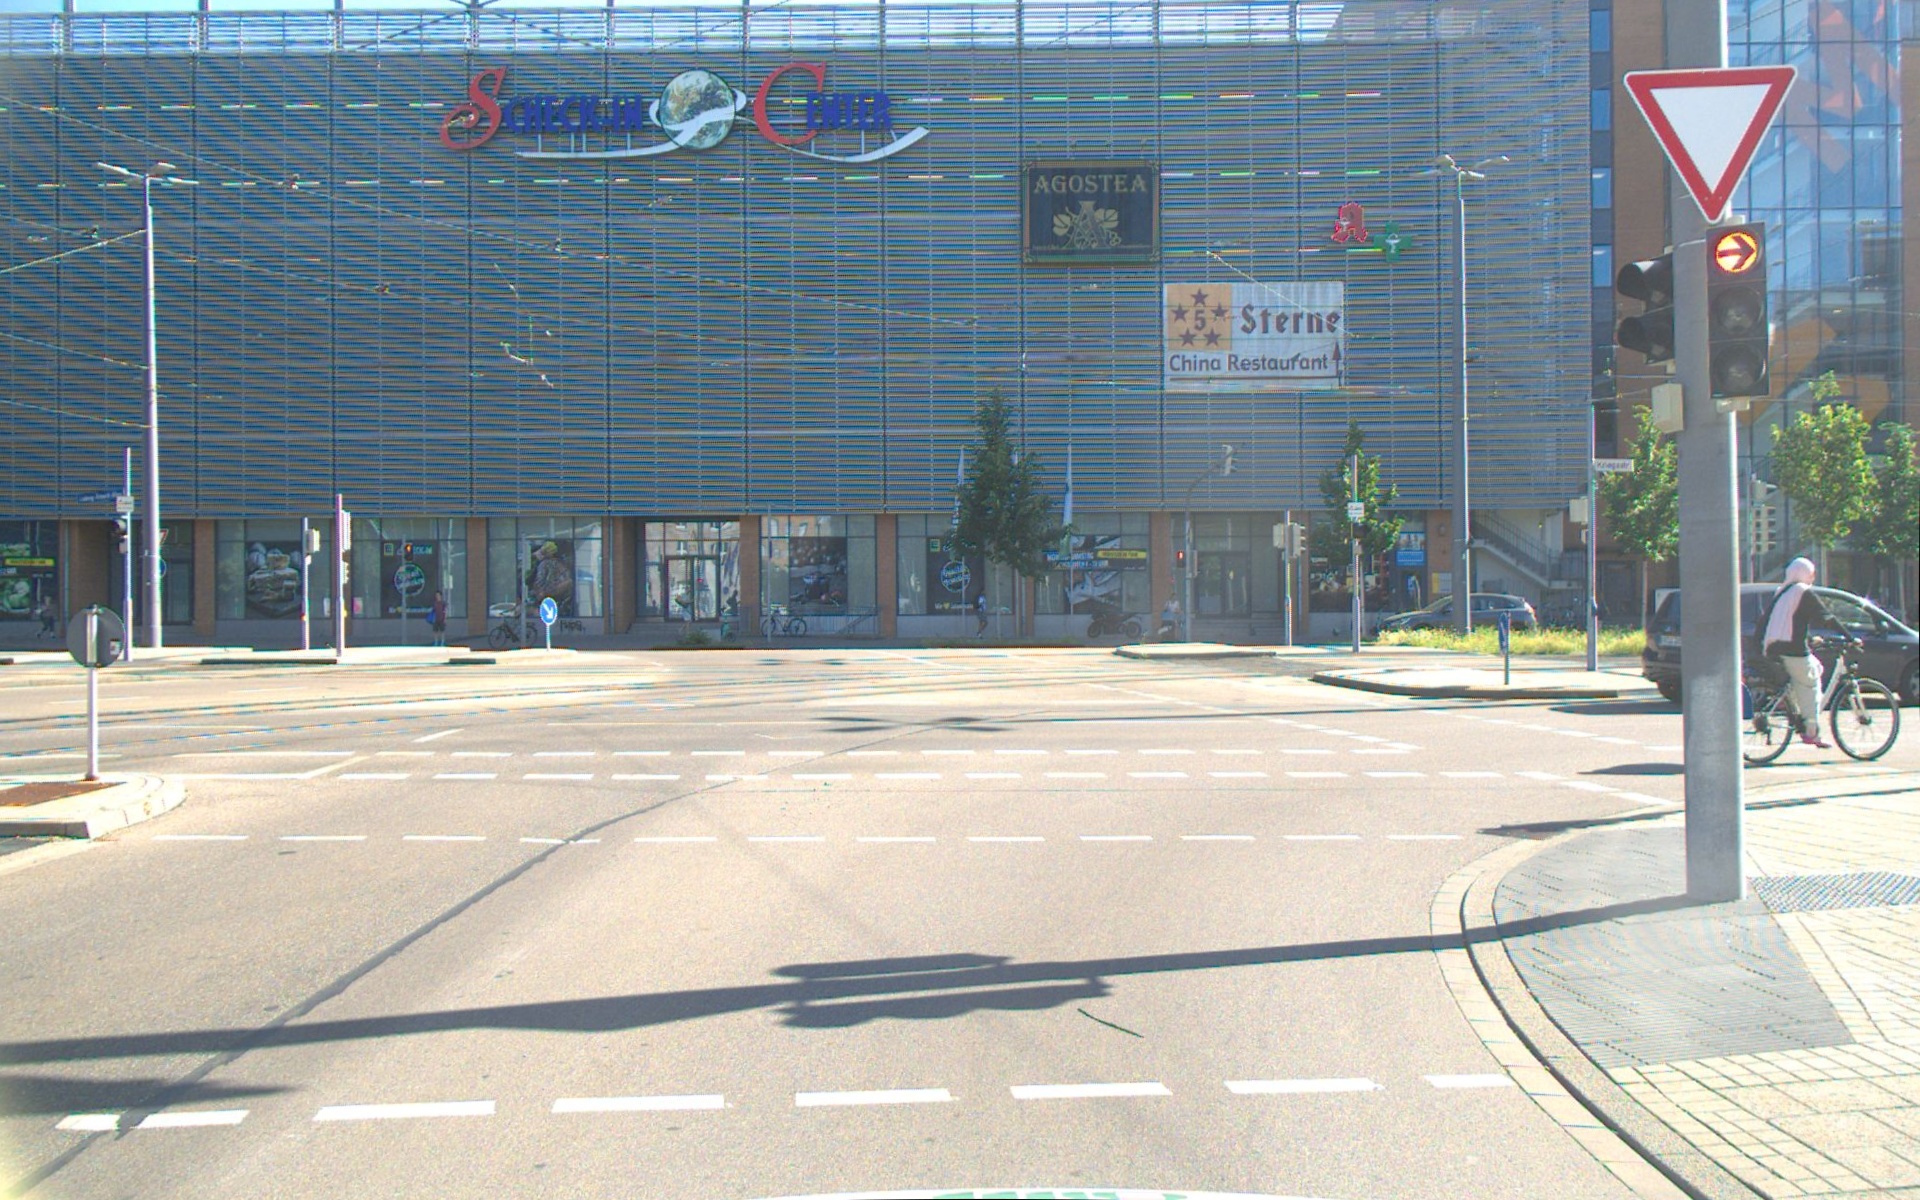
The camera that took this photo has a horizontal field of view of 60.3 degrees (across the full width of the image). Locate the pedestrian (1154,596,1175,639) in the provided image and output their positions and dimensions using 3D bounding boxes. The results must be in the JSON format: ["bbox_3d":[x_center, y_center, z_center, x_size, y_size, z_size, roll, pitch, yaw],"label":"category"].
[{"bbox_3d":[6.856,0.579,55.360,0.641,1.438,0.850,1,-1,10],"label":"pedestrian"}]

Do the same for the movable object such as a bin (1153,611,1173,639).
[{"bbox_3d":[6.741,0.833,54.893,0.599,0.920,0.970,1,0,10],"label":"movable object such as a bin"}]

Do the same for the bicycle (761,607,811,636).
[{"bbox_3d":[-6.366,0.781,60.428,1.783,1.006,0.556,0,1,-11],"label":"bicycle"}]

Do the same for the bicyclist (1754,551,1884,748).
[{"bbox_3d":[7.727,0.442,14.897,0.866,1.736,0.573,1,-1,-7],"label":"bicyclist"}]

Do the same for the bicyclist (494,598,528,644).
[{"bbox_3d":[-14.800,0.692,54.540,0.663,1.452,0.844,0,2,42],"label":"bicyclist"}]

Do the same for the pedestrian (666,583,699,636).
[{"bbox_3d":[-10.016,0.328,59.723,0.930,1.860,0.846,-2,0,5],"label":"pedestrian"}]

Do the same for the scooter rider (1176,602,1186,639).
[{"bbox_3d":[7.360,0.669,55.126,0.282,1.221,0.386,1,-1,10],"label":"scooter rider"}]

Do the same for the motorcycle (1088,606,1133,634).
[{"bbox_3d":[5.529,0.730,60.704,1.605,1.022,0.447,1,0,6],"label":"motorcycle"}]

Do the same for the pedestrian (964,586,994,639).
[{"bbox_3d":[0.676,0.435,59.284,0.991,1.860,1.036,-2,0,3],"label":"pedestrian"}]

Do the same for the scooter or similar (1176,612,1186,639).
[{"bbox_3d":[7.366,0.836,55.186,0.288,0.888,1.004,1,0,10],"label":"scooter or similar"}]

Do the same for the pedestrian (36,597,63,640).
[{"bbox_3d":[-34.304,0.697,62.317,0.646,1.629,0.594,1,-1,18],"label":"pedestrian"}]

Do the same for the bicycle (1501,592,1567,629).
[{"bbox_3d":[21.288,0.393,61.348,2.209,1.318,0.605,1,-1,-2],"label":"bicycle"}]

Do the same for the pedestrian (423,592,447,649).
[{"bbox_3d":[-17.339,0.665,54.664,0.683,1.829,0.727,-2,0,-17],"label":"pedestrian"}]

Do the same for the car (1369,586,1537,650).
[{"bbox_3d":[13.669,0.497,46.042,4.063,1.495,1.840,3,-1,-2],"label":"car"}]

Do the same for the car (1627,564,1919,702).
[{"bbox_3d":[10.671,0.394,21.182,3.619,1.674,1.644,0,0,-7],"label":"car"}]

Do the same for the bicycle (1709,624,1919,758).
[{"bbox_3d":[7.772,0.810,14.860,1.864,1.157,0.580,1,0,-7],"label":"bicycle"}]

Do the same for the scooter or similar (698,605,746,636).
[{"bbox_3d":[-8.747,0.750,60.775,1.759,1.085,0.611,0,1,-9],"label":"scooter or similar"}]

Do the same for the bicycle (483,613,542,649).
[{"bbox_3d":[-14.768,1.009,54.615,0.559,1.105,1.852,0,2,42],"label":"bicycle"}]
